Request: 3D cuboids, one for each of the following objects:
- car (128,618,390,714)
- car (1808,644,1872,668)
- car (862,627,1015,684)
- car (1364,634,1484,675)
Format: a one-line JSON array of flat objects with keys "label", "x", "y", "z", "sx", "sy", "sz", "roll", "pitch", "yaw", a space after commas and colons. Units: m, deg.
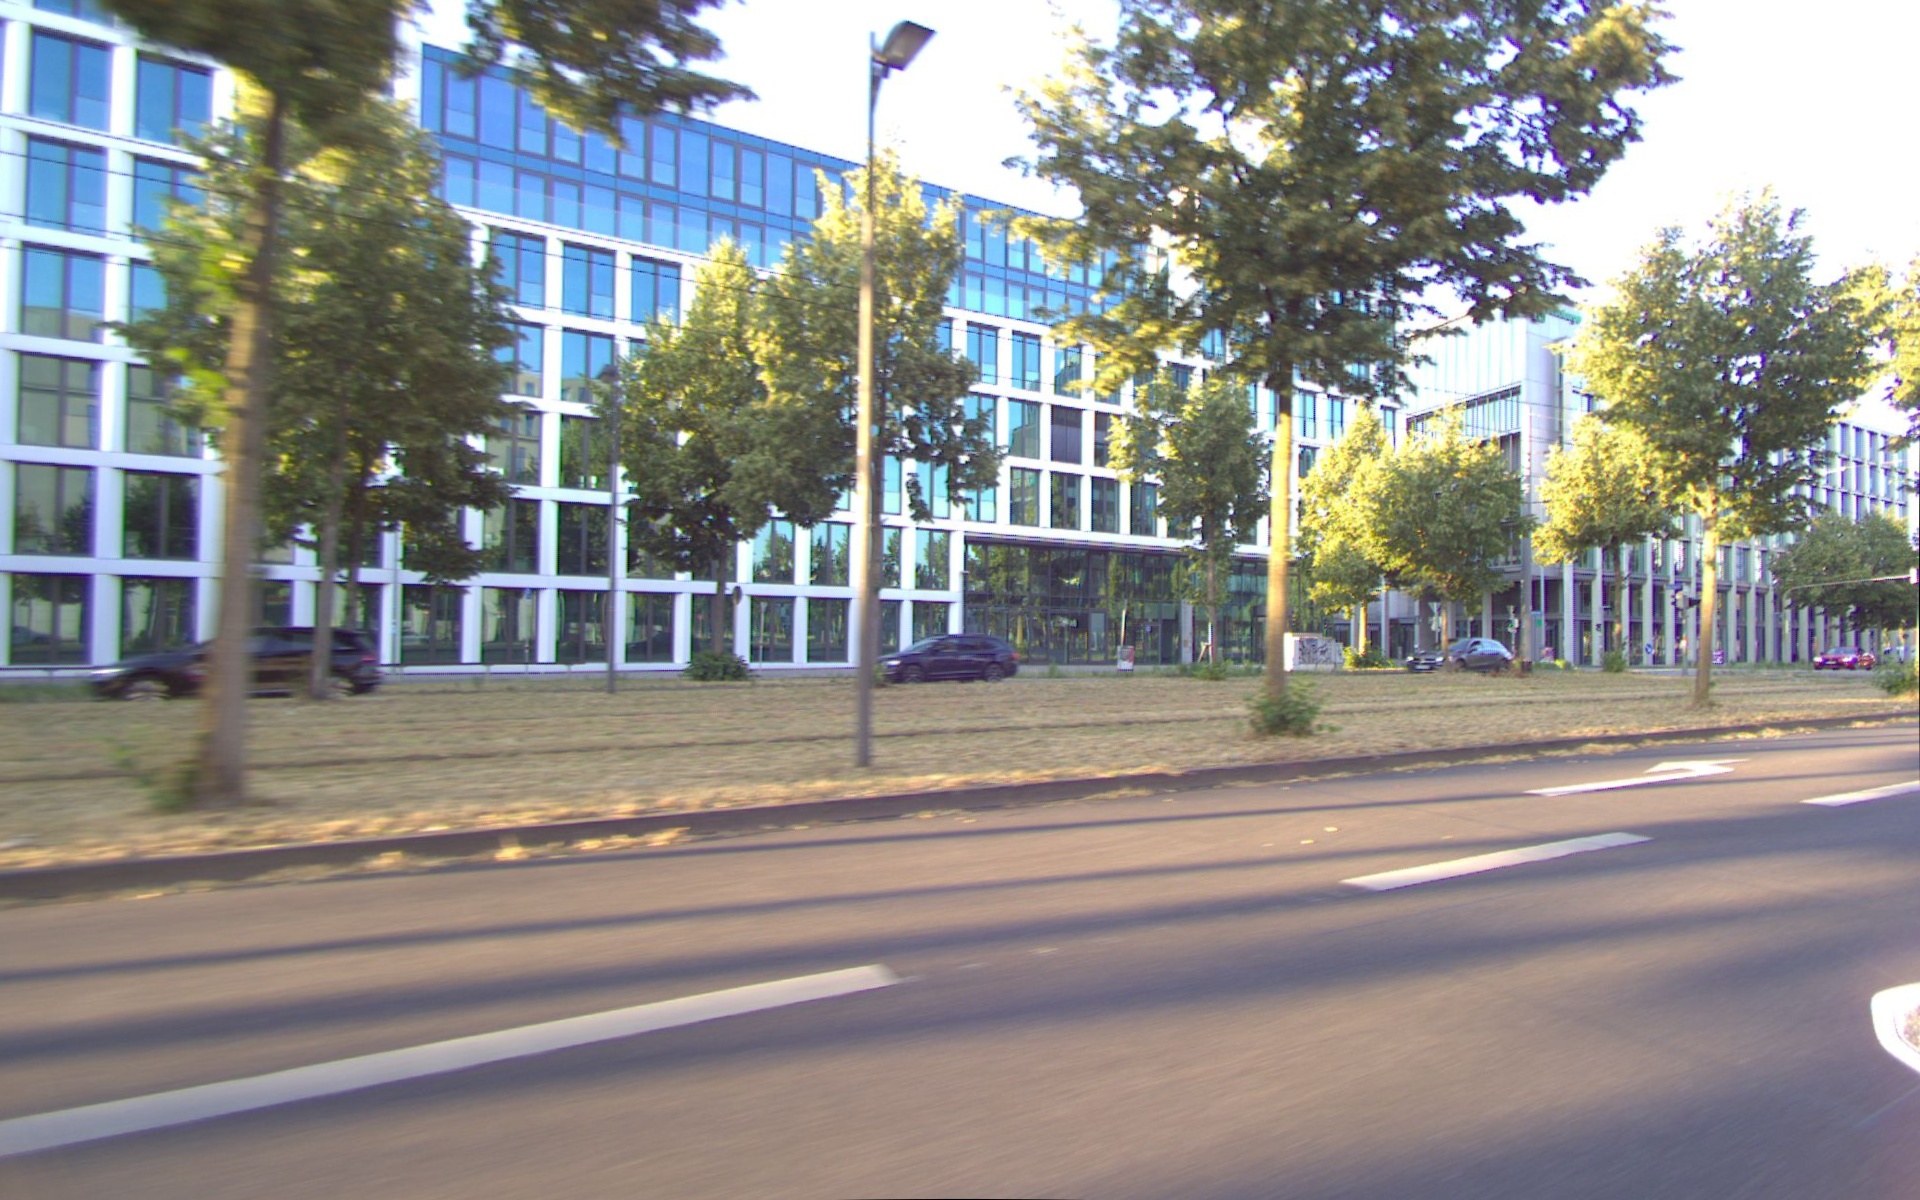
[{"label": "car", "x": -12.394, "y": 1.131, "z": 18.056, "sx": 3.686, "sy": 1.568, "sz": 1.793, "roll": 1, "pitch": -2, "yaw": -32}, {"label": "car", "x": 52.188, "y": 3.319, "z": 59.547, "sx": 4.477, "sy": 1.349, "sz": 1.648, "roll": 2, "pitch": -2, "yaw": -32}, {"label": "car", "x": -0.580, "y": 1.559, "z": 28.657, "sx": 4.144, "sy": 1.521, "sz": 1.648, "roll": 2, "pitch": -2, "yaw": -32}, {"label": "car", "x": 16.310, "y": 1.886, "z": 35.210, "sx": 4.534, "sy": 1.349, "sz": 1.648, "roll": 2, "pitch": -2, "yaw": -32}]
